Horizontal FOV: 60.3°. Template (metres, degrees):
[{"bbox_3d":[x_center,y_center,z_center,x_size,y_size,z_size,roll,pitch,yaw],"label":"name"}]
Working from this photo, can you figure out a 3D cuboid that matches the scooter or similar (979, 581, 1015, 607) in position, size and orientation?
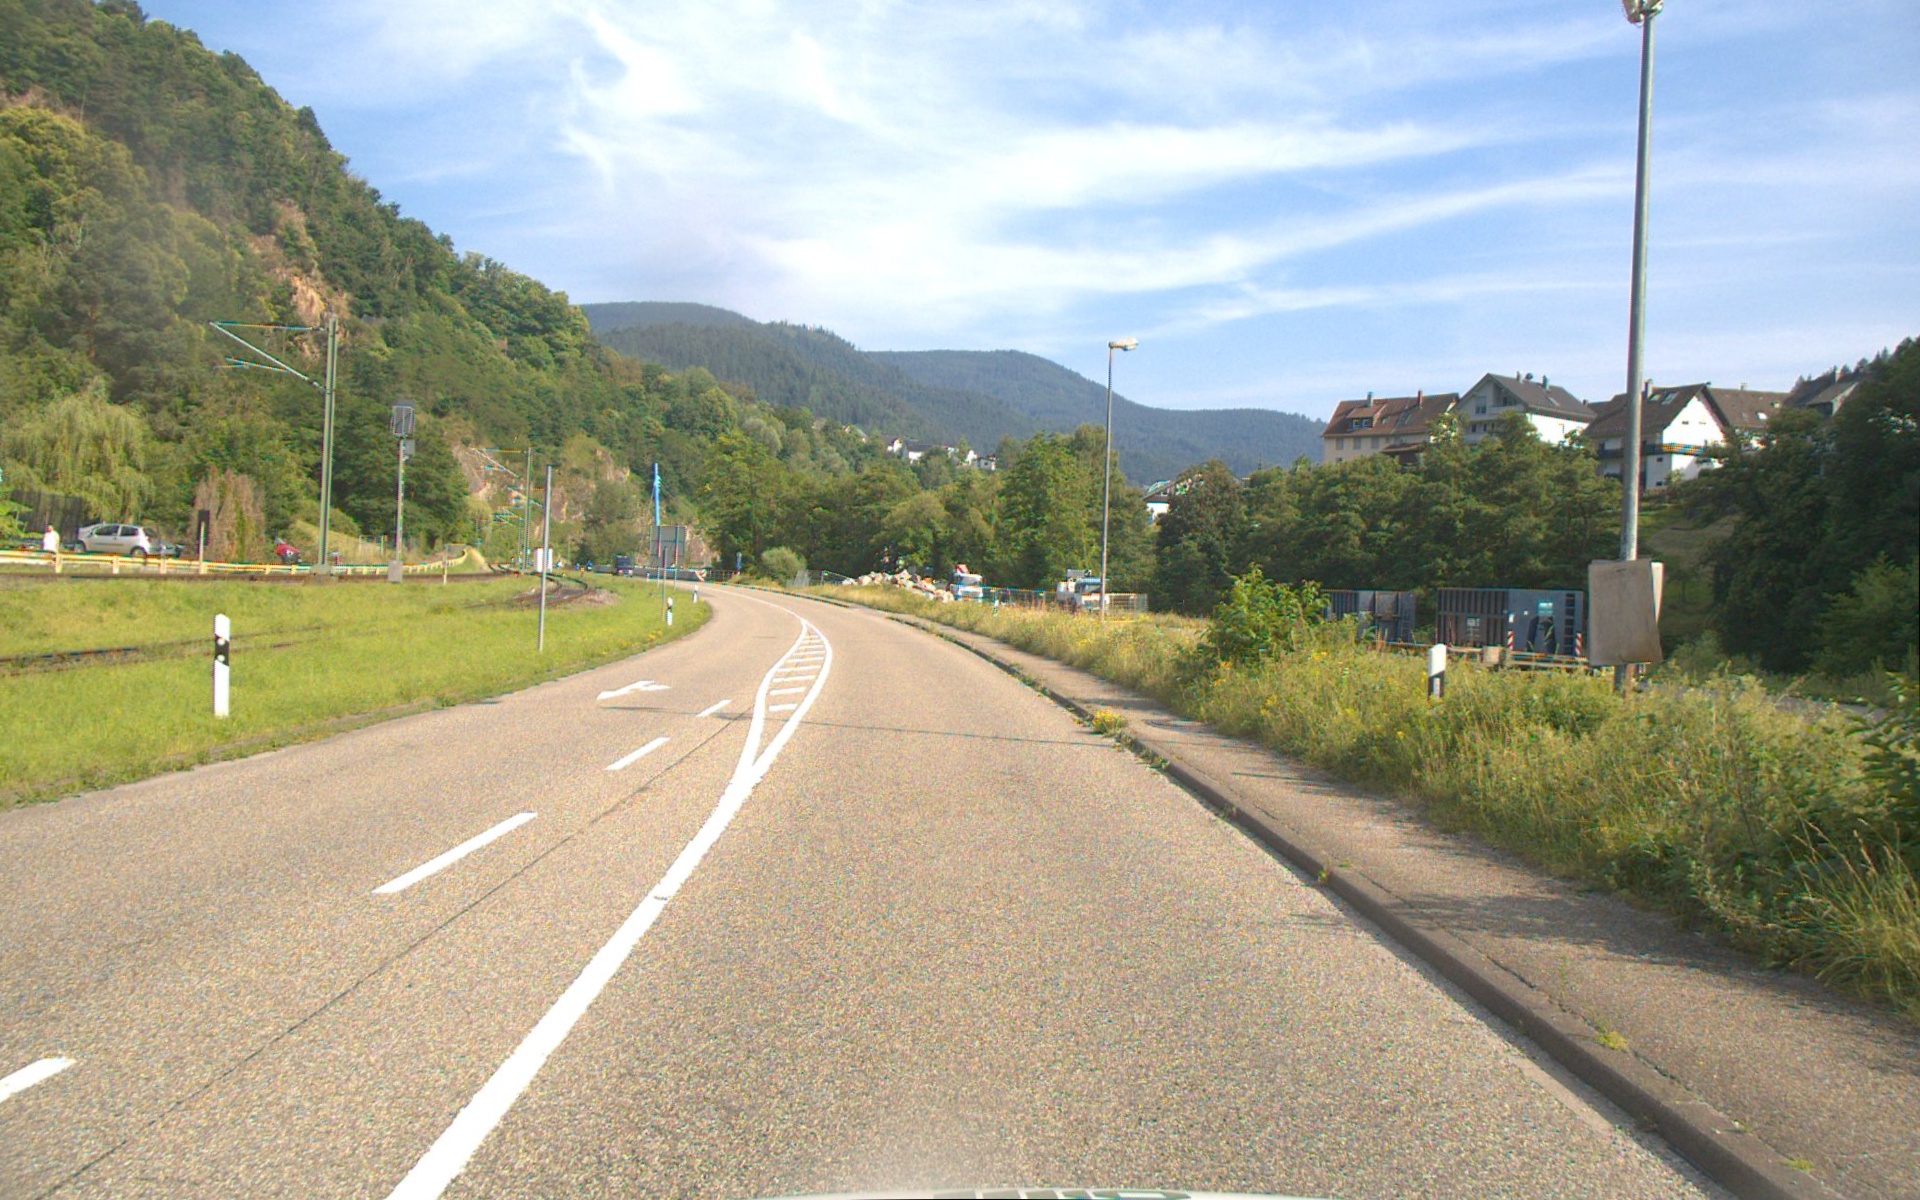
[{"bbox_3d":[3.125,-0.497,138.931,1.961,2.049,3.984,1,1,-15],"label":"scooter or similar"}]

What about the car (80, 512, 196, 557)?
[{"bbox_3d":[-36.431,-2.877,73.379,4.064,1.721,1.998,3,0,-6],"label":"car"}]

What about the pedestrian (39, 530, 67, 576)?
[{"bbox_3d":[-32.892,-1.708,59.976,0.595,1.644,0.677,3,0,-7],"label":"pedestrian"}]

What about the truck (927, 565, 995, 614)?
[{"bbox_3d":[0.030,-0.930,139.283,3.055,3.847,8.600,3,0,-18],"label":"truck"}]

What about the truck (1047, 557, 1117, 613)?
[{"bbox_3d":[8.988,-1.144,122.805,3.046,3.847,8.626,3,0,-10],"label":"truck"}]

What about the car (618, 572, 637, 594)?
[{"bbox_3d":[-40.104,-2.066,199.446,2.089,2.661,5.463,0,1,-12],"label":"car"}]

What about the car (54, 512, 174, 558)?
[{"bbox_3d":[-36.263,-2.762,70.988,4.064,1.721,1.998,3,0,-6],"label":"car"}]

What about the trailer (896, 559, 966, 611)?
[{"bbox_3d":[-2.689,-1.319,148.080,3.313,4.348,9.859,3,0,-18],"label":"trailer"}]

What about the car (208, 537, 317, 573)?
[{"bbox_3d":[-38.257,-2.450,90.834,4.865,1.721,2.454,3,0,-3],"label":"car"}]

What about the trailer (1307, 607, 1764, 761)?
[{"bbox_3d":[7.892,1.029,24.599,2.737,1.500,9.880,4,0,-4],"label":"trailer"}]
